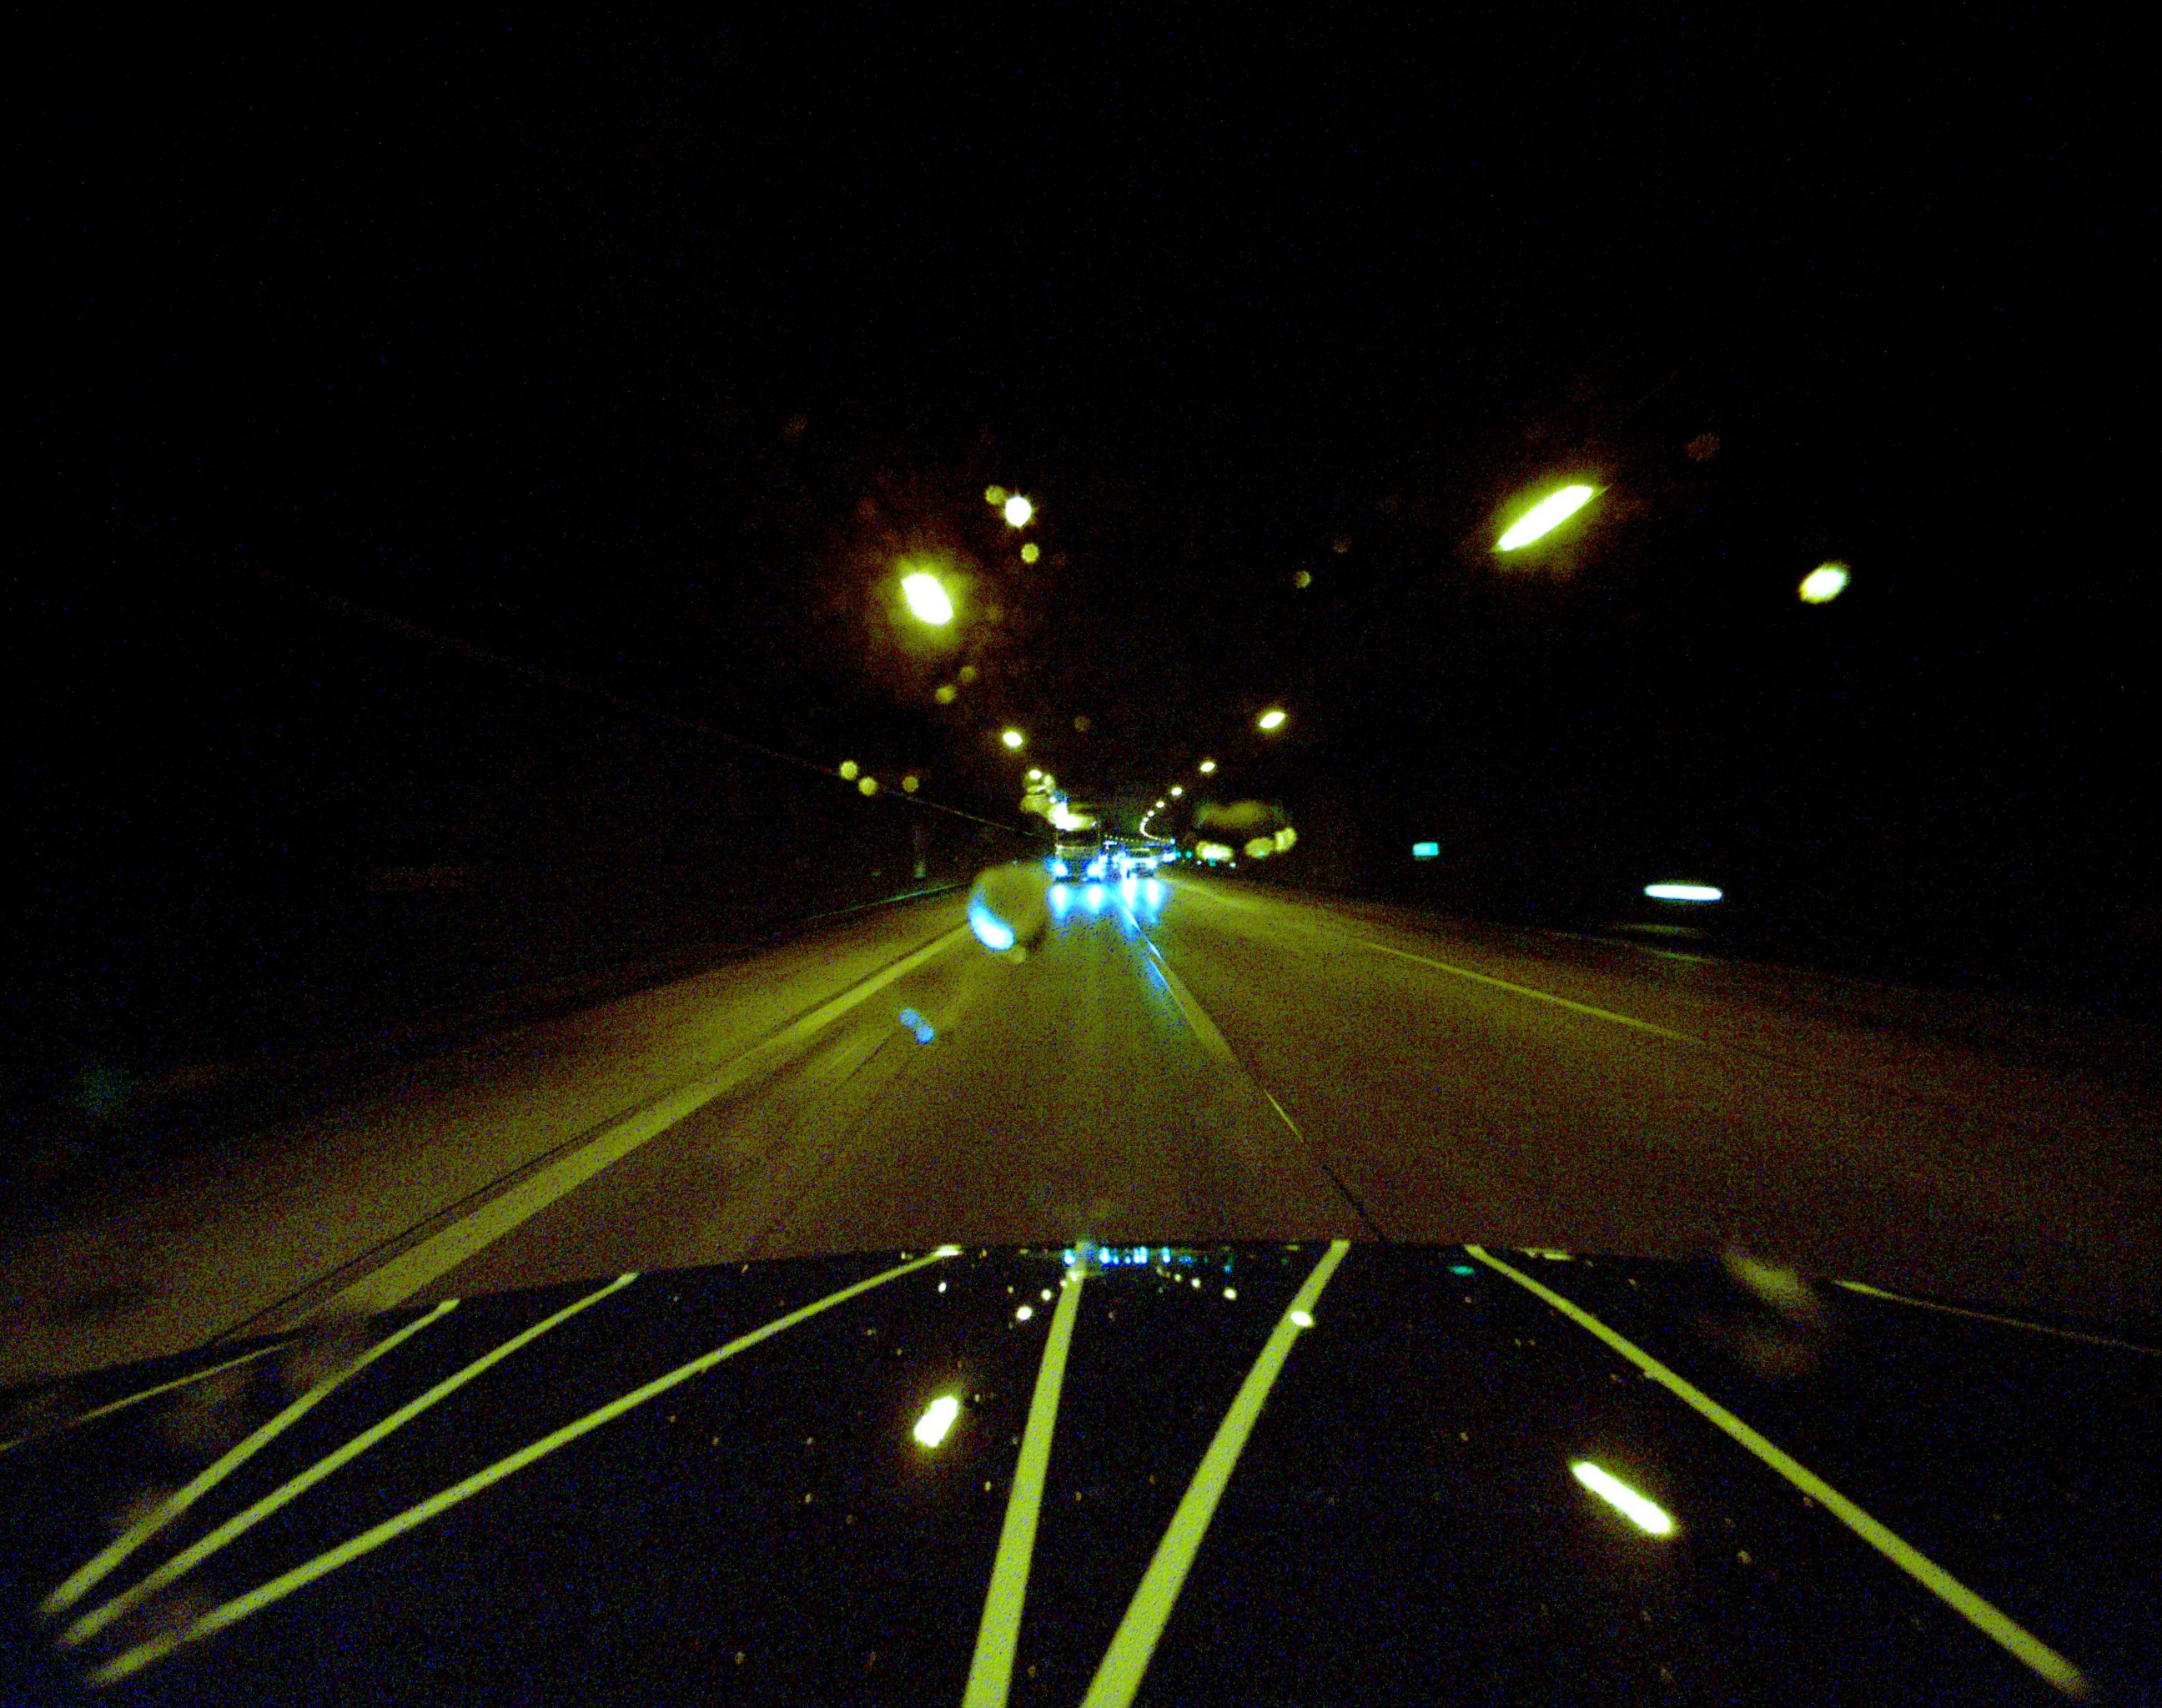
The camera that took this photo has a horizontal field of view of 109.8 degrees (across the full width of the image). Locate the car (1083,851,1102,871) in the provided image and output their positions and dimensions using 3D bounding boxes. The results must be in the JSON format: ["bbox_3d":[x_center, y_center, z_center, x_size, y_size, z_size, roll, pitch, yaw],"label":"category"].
[{"bbox_3d":[1.153,0.684,77.262,1.839,1.849,4.287,1,1,1],"label":"car"}]

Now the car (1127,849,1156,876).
[{"bbox_3d":[4.299,0.562,54.702,1.998,1.890,4.001,0,0,3],"label":"car"}]

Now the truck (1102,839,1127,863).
[{"bbox_3d":[5.675,-0.494,127.210,2.898,3.819,9.003,-1,1,10],"label":"truck"}]

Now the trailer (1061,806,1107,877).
[{"bbox_3d":[0.007,-0.753,52.125,2.627,4.139,13.998,-1,0,-2],"label":"trailer"}]

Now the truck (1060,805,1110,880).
[{"bbox_3d":[0.130,-0.663,45.496,2.653,4.139,6.003,-1,1,-3],"label":"truck"}]
